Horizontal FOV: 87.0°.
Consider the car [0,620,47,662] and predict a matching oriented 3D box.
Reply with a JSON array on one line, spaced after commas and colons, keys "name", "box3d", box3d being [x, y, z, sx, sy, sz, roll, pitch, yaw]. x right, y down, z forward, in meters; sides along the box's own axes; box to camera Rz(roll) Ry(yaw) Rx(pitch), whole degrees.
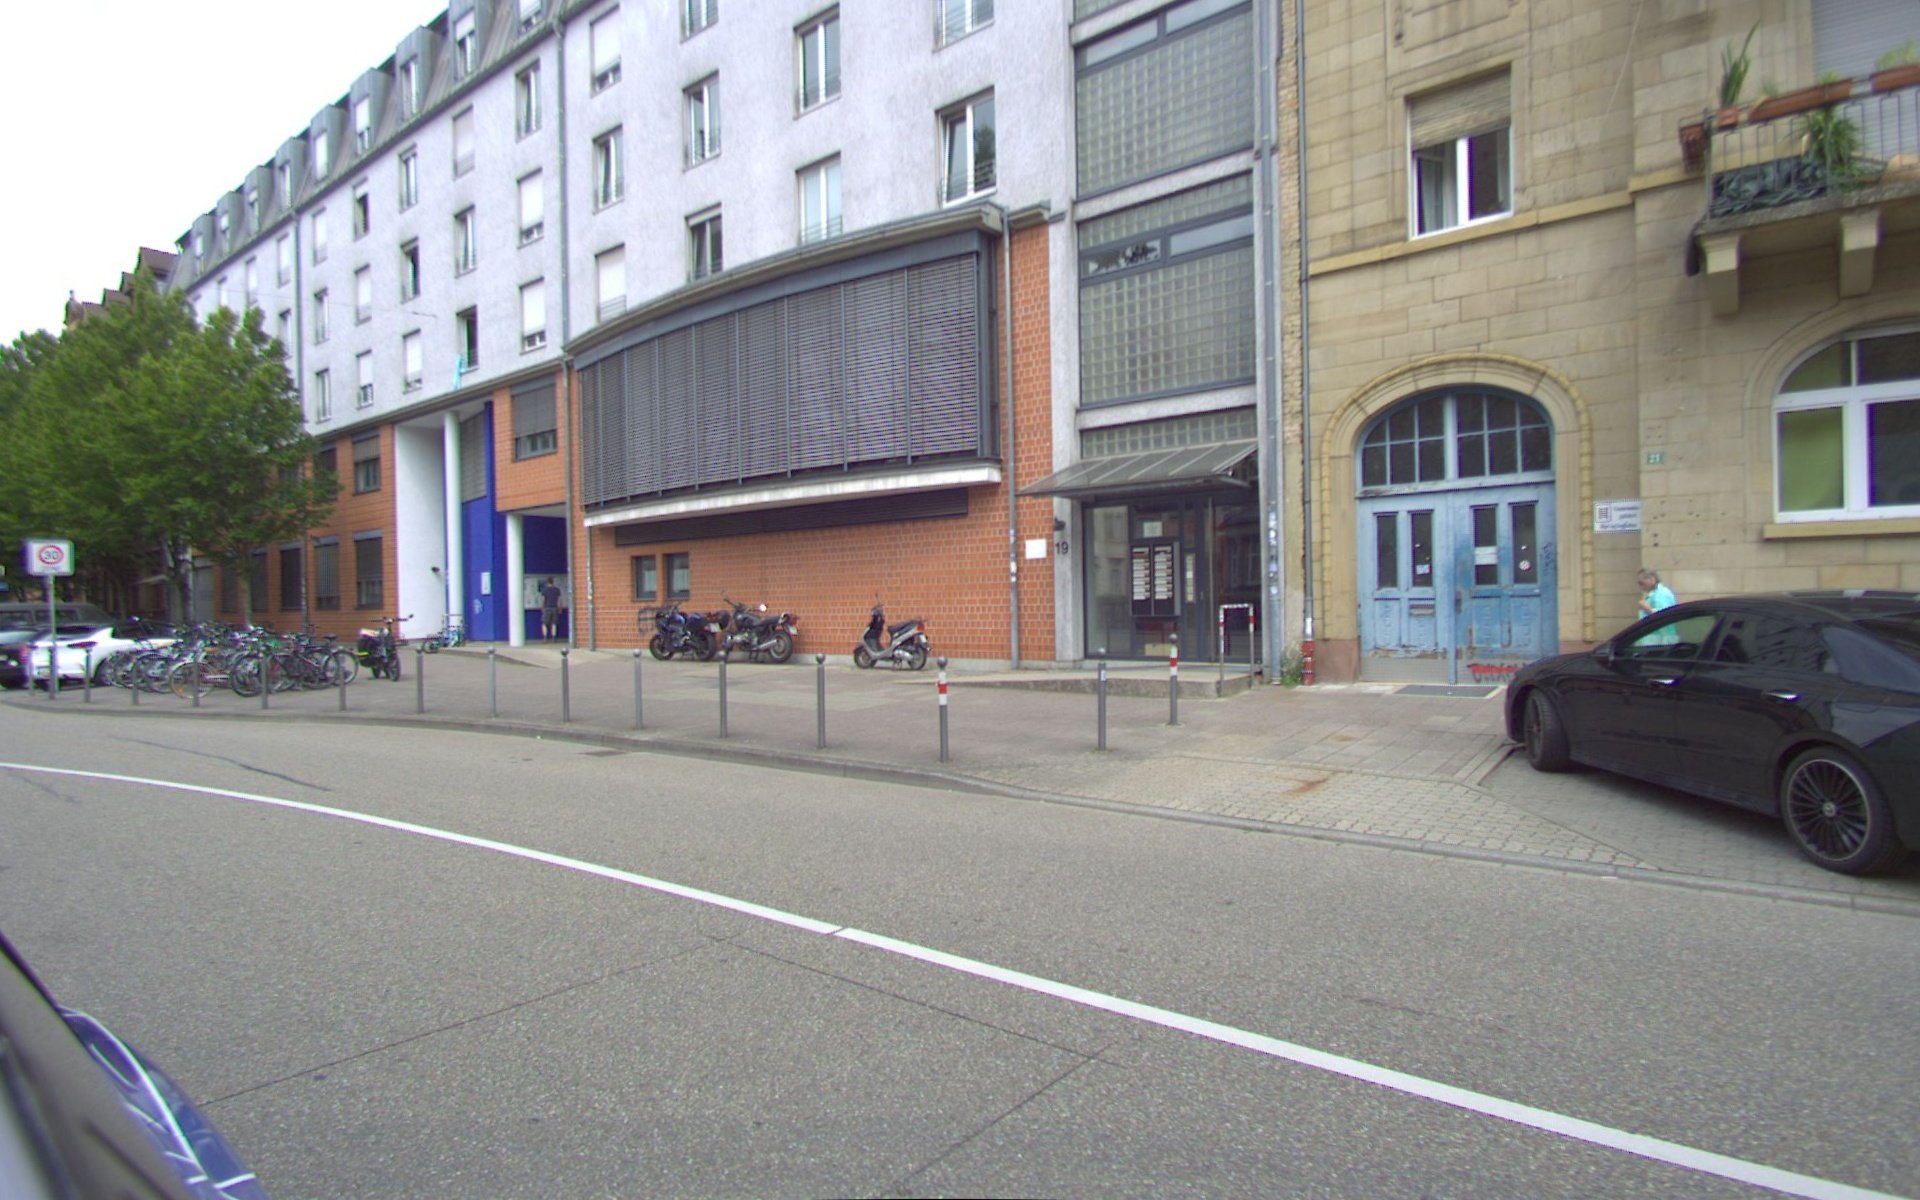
[{"name": "car", "box3d": [-34.059, 1.471, 34.770, 1.576, 1.400, 3.999, -2, 0, 5]}]

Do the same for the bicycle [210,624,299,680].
[{"name": "bicycle", "box3d": [-14.113, 1.018, 20.278, 0.401, 1.034, 1.391, -1, 1, 41]}]

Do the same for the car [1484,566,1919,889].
[{"name": "car", "box3d": [5.494, 0.561, 6.415, 1.873, 1.419, 4.672, -3, 2, 0]}]

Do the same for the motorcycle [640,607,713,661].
[{"name": "motorcycle", "box3d": [-5.912, 0.696, 21.065, 1.655, 1.056, 0.578, -1, 1, 38]}]

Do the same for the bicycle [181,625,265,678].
[{"name": "bicycle", "box3d": [-15.814, 1.090, 21.741, 0.401, 1.034, 1.391, -1, 1, 41]}]

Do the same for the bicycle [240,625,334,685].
[{"name": "bicycle", "box3d": [-12.693, 1.021, 19.111, 0.401, 1.034, 1.391, -1, 1, 41]}]

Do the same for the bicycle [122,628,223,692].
[{"name": "bicycle", "box3d": [-14.653, 1.089, 18.863, 0.401, 1.046, 1.392, -1, 2, 41]}]

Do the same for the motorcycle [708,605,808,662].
[{"name": "motorcycle", "box3d": [-3.931, 0.651, 19.675, 1.958, 1.056, 0.580, -2, 1, 28]}]

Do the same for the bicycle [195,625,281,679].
[{"name": "bicycle", "box3d": [-15.002, 1.061, 21.051, 0.401, 1.034, 1.391, -1, 1, 41]}]

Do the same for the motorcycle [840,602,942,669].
[{"name": "motorcycle", "box3d": [-1.191, 0.591, 17.180, 1.792, 1.056, 0.577, -1, 1, 40]}]

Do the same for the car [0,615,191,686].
[{"name": "car", "box3d": [-20.989, 1.140, 24.191, 1.696, 1.480, 4.310, -1, 0, 5]}]

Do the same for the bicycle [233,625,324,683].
[{"name": "bicycle", "box3d": [-13.093, 1.021, 19.469, 0.401, 1.034, 1.391, -1, 1, 41]}]

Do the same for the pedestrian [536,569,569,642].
[{"name": "pedestrian", "box3d": [-11.474, 0.159, 28.473, 0.718, 2.029, 0.784, -1, -1, -31]}]

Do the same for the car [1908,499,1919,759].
[{"name": "car", "box3d": [7.946, 0.198, 4.840, 2.095, 1.924, 5.263, -1, 0, 5]}]

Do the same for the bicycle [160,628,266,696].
[{"name": "bicycle", "box3d": [-13.034, 1.062, 17.686, 0.401, 1.046, 1.392, -1, 2, 41]}]

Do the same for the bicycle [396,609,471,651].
[{"name": "bicycle", "box3d": [-14.498, 0.812, 27.869, 1.591, 0.932, 0.933, -8, 4, -39]}]

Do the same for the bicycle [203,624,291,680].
[{"name": "bicycle", "box3d": [-14.489, 1.039, 20.585, 0.401, 1.034, 1.391, -1, 1, 41]}]

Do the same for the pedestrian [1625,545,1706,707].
[{"name": "pedestrian", "box3d": [6.801, 0.244, 9.776, 0.506, 1.497, 0.656, -1, 0, 25]}]

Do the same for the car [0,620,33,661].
[{"name": "car", "box3d": [-35.837, 1.498, 36.085, 1.670, 1.464, 3.999, -2, 0, 5]}]

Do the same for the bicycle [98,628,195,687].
[{"name": "bicycle", "box3d": [-16.126, 1.128, 20.084, 0.401, 1.034, 1.392, -1, 2, 41]}]

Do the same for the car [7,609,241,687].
[{"name": "car", "box3d": [-18.722, 1.022, 22.918, 1.585, 1.557, 3.992, -1, 0, 11]}]

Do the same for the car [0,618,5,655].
[{"name": "car", "box3d": [-42.032, 1.586, 41.562, 1.670, 1.580, 3.999, -2, 0, 5]}]

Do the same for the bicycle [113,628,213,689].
[{"name": "bicycle", "box3d": [-15.151, 1.094, 19.267, 0.401, 1.034, 1.392, -1, 2, 41]}]

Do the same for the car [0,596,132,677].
[{"name": "car", "box3d": [-25.473, 0.958, 27.801, 1.840, 2.013, 3.996, -1, 1, 8]}]

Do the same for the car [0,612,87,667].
[{"name": "car", "box3d": [-29.717, 1.233, 31.343, 1.691, 1.627, 3.999, -2, 0, 5]}]

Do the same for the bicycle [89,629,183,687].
[{"name": "bicycle", "box3d": [-16.746, 1.157, 20.600, 0.401, 1.034, 1.392, -1, 2, 41]}]

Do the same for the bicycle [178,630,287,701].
[{"name": "bicycle", "box3d": [-12.314, 1.087, 17.157, 0.401, 1.046, 1.392, -1, 2, 41]}]

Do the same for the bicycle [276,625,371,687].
[{"name": "bicycle", "box3d": [-11.605, 0.997, 18.483, 0.401, 1.034, 1.391, -1, 1, 41]}]

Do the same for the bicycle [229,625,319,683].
[{"name": "bicycle", "box3d": [-13.427, 1.041, 19.827, 0.401, 1.034, 1.391, -1, 1, 41]}]

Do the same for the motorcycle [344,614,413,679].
[{"name": "motorcycle", "box3d": [-11.284, 0.891, 19.608, 1.778, 1.181, 0.577, -1, 1, 41]}]

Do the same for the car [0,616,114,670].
[{"name": "car", "box3d": [-27.547, 1.262, 29.870, 1.605, 1.457, 3.999, -2, 0, 5]}]

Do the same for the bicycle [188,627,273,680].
[{"name": "bicycle", "box3d": [-15.445, 1.121, 21.441, 0.401, 1.034, 1.391, -1, 1, 41]}]
